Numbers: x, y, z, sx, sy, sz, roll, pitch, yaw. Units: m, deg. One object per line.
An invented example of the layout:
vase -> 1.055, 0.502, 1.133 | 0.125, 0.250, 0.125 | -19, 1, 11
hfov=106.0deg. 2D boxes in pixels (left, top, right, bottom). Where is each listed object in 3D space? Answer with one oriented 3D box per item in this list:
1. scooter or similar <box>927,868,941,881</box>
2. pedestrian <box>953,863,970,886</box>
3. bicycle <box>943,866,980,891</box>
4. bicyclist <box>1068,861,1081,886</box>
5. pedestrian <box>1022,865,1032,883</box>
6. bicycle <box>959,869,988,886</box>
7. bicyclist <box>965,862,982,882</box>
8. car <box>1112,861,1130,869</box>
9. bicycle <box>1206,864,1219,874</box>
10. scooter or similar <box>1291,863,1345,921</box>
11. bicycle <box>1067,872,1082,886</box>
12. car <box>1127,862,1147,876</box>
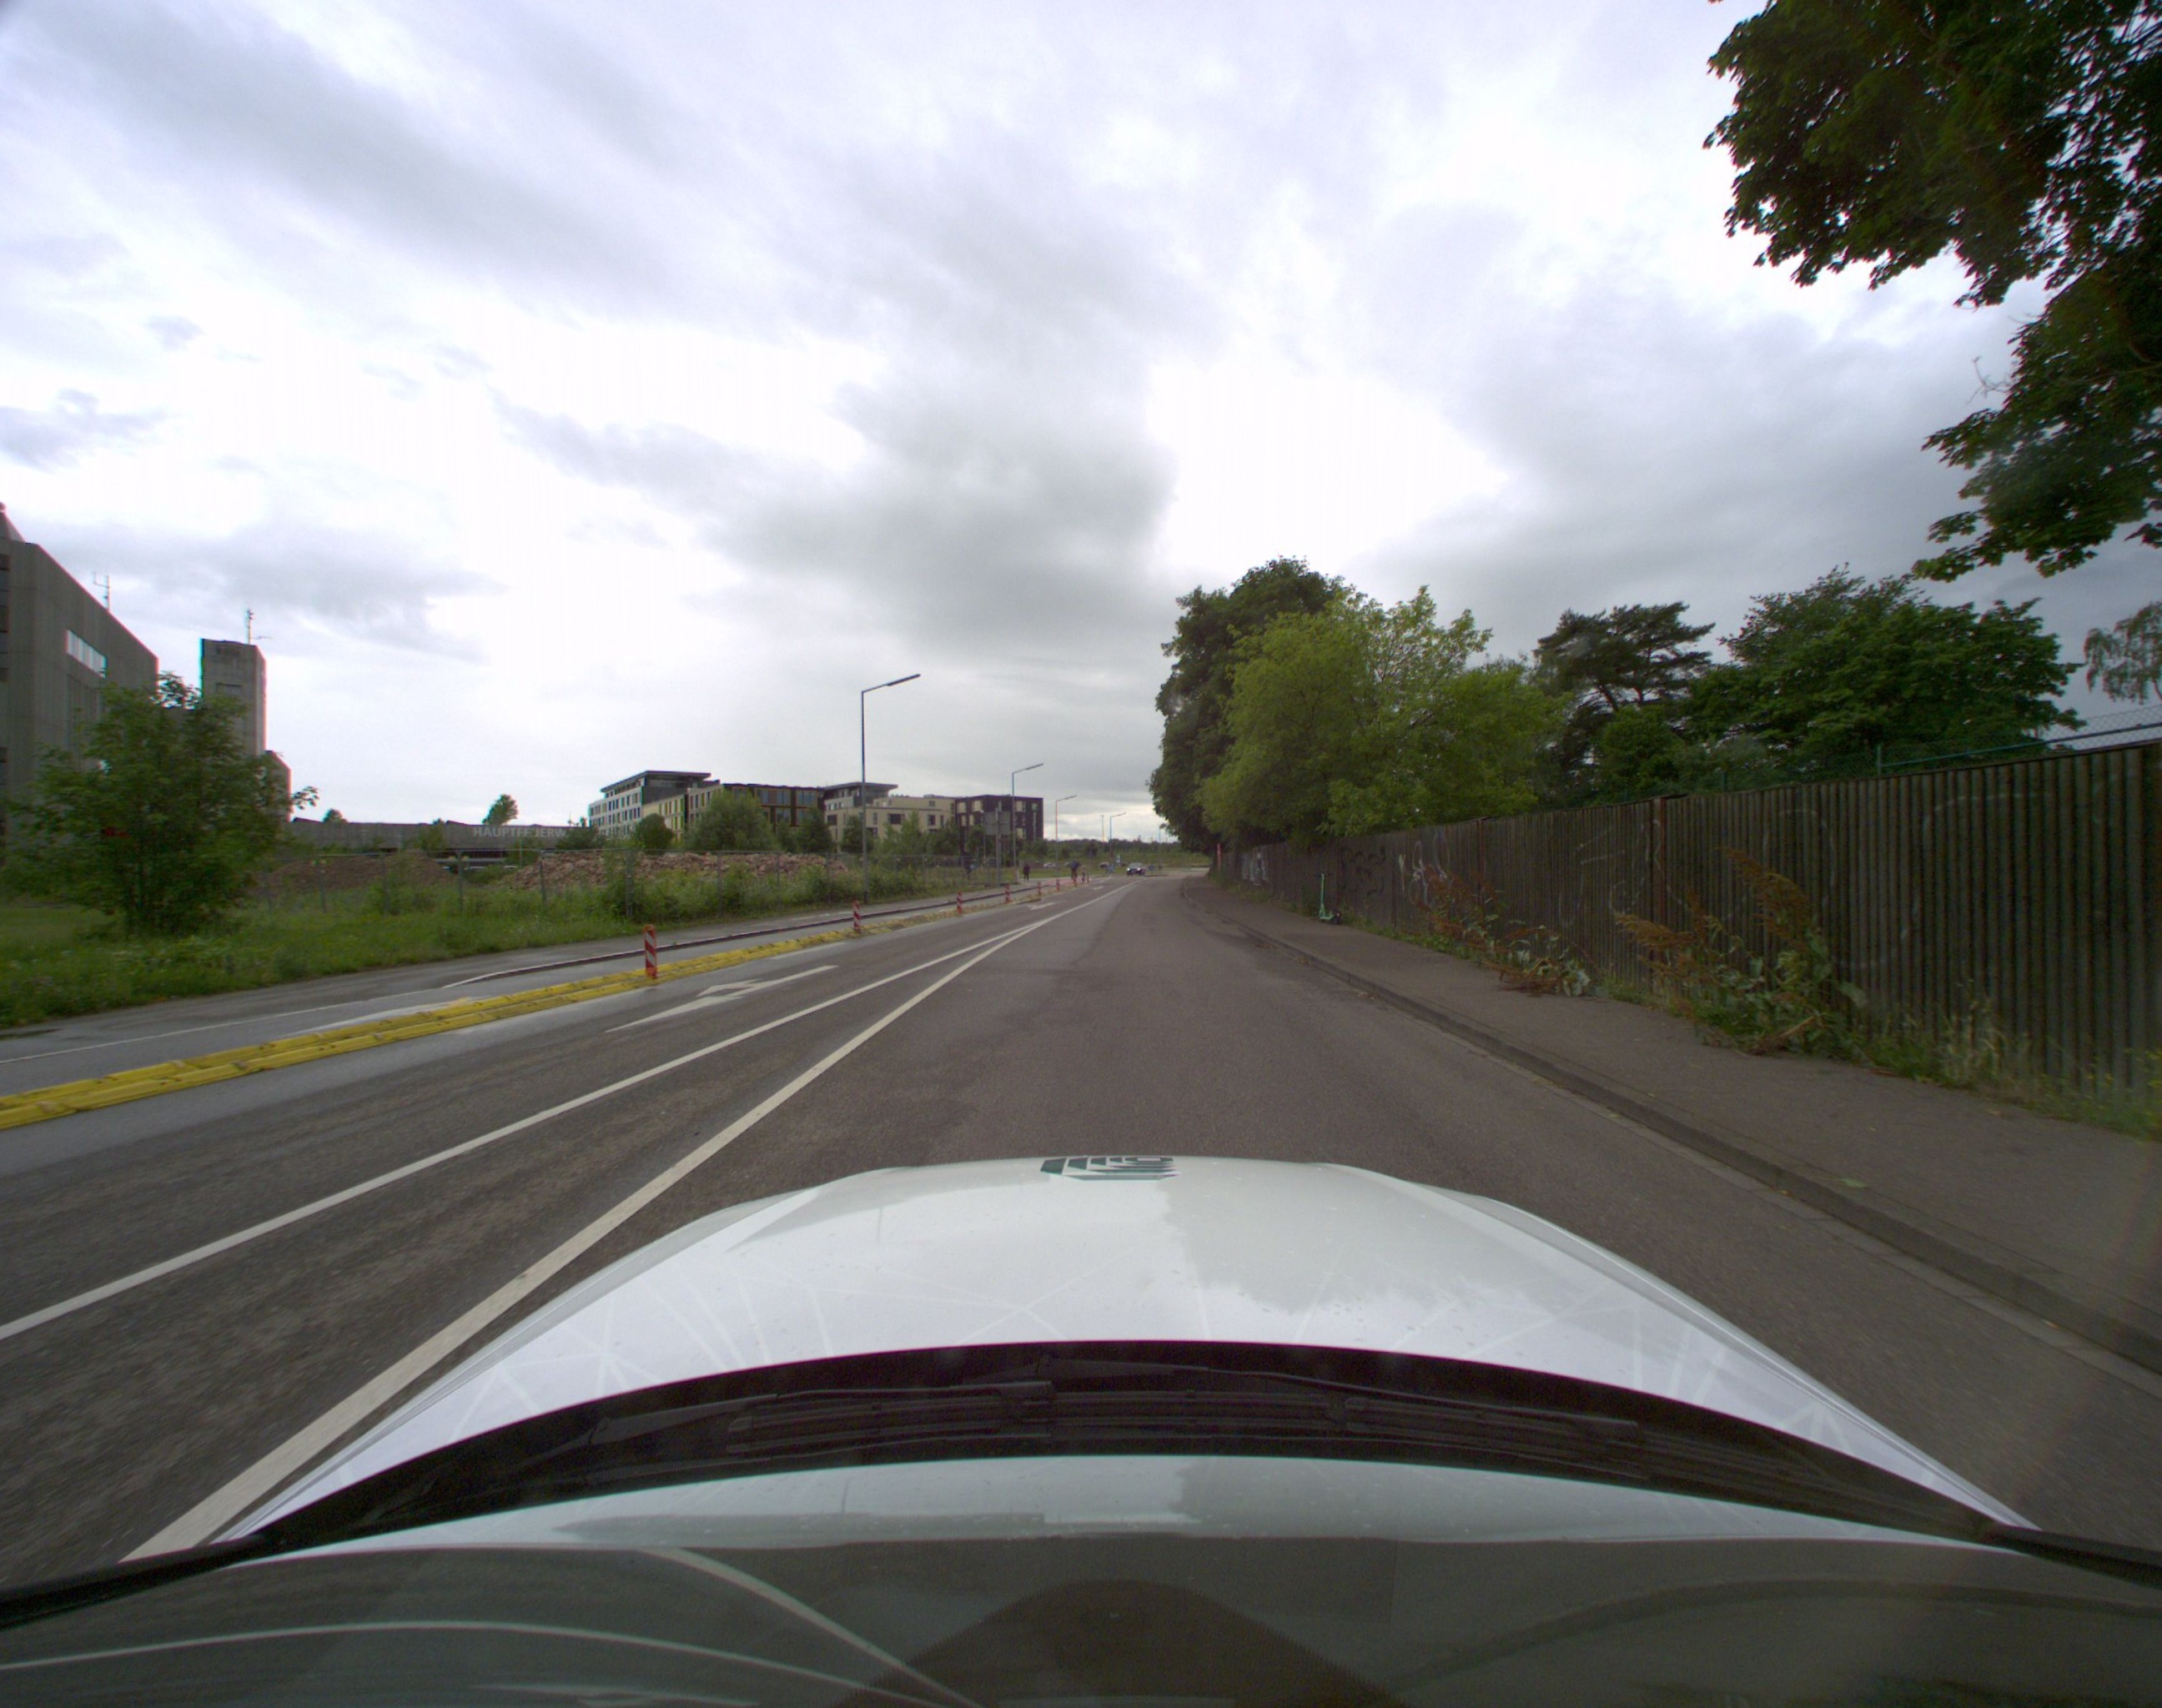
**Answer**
scooter or similar -> -12.601, 1.752, 69.659 | 1.321, 1.142, 0.414 | -1, -2, 38
pedestrian -> -10.068, 1.734, 68.519 | 1.162, 1.847, 0.739 | -1, 0, 22
bicycle -> -10.065, 2.046, 68.506 | 3.100, 2.013, 0.677 | -1, 0, 22
bicyclist -> -0.544, 1.647, 68.818 | 0.857, 2.013, 1.180 | -1, 0, 7
pedestrian -> -5.274, 1.960, 79.750 | 0.840, 1.782, 1.078 | -1, 0, 4
bicycle -> -10.363, 2.234, 78.452 | 2.501, 1.584, 1.079 | -1, 0, -21
bicyclist -> -10.355, 1.756, 78.449 | 1.402, 1.899, 1.070 | -1, 0, -20
car -> 9.630, 2.582, 196.539 | 2.010, 1.823, 3.953 | -1, 0, -40
bicycle -> 15.589, 1.757, 96.424 | 0.788, 1.111, 1.964 | -1, -1, 31
scooter or similar -> 5.844, 0.913, 20.235 | 0.688, 1.312, 2.353 | -1, 0, 1
bicycle -> -0.538, 2.114, 68.794 | 0.879, 1.052, 2.474 | -1, 0, 7
car -> 7.072, 1.858, 103.015 | 1.868, 1.567, 4.372 | -1, 0, 12
